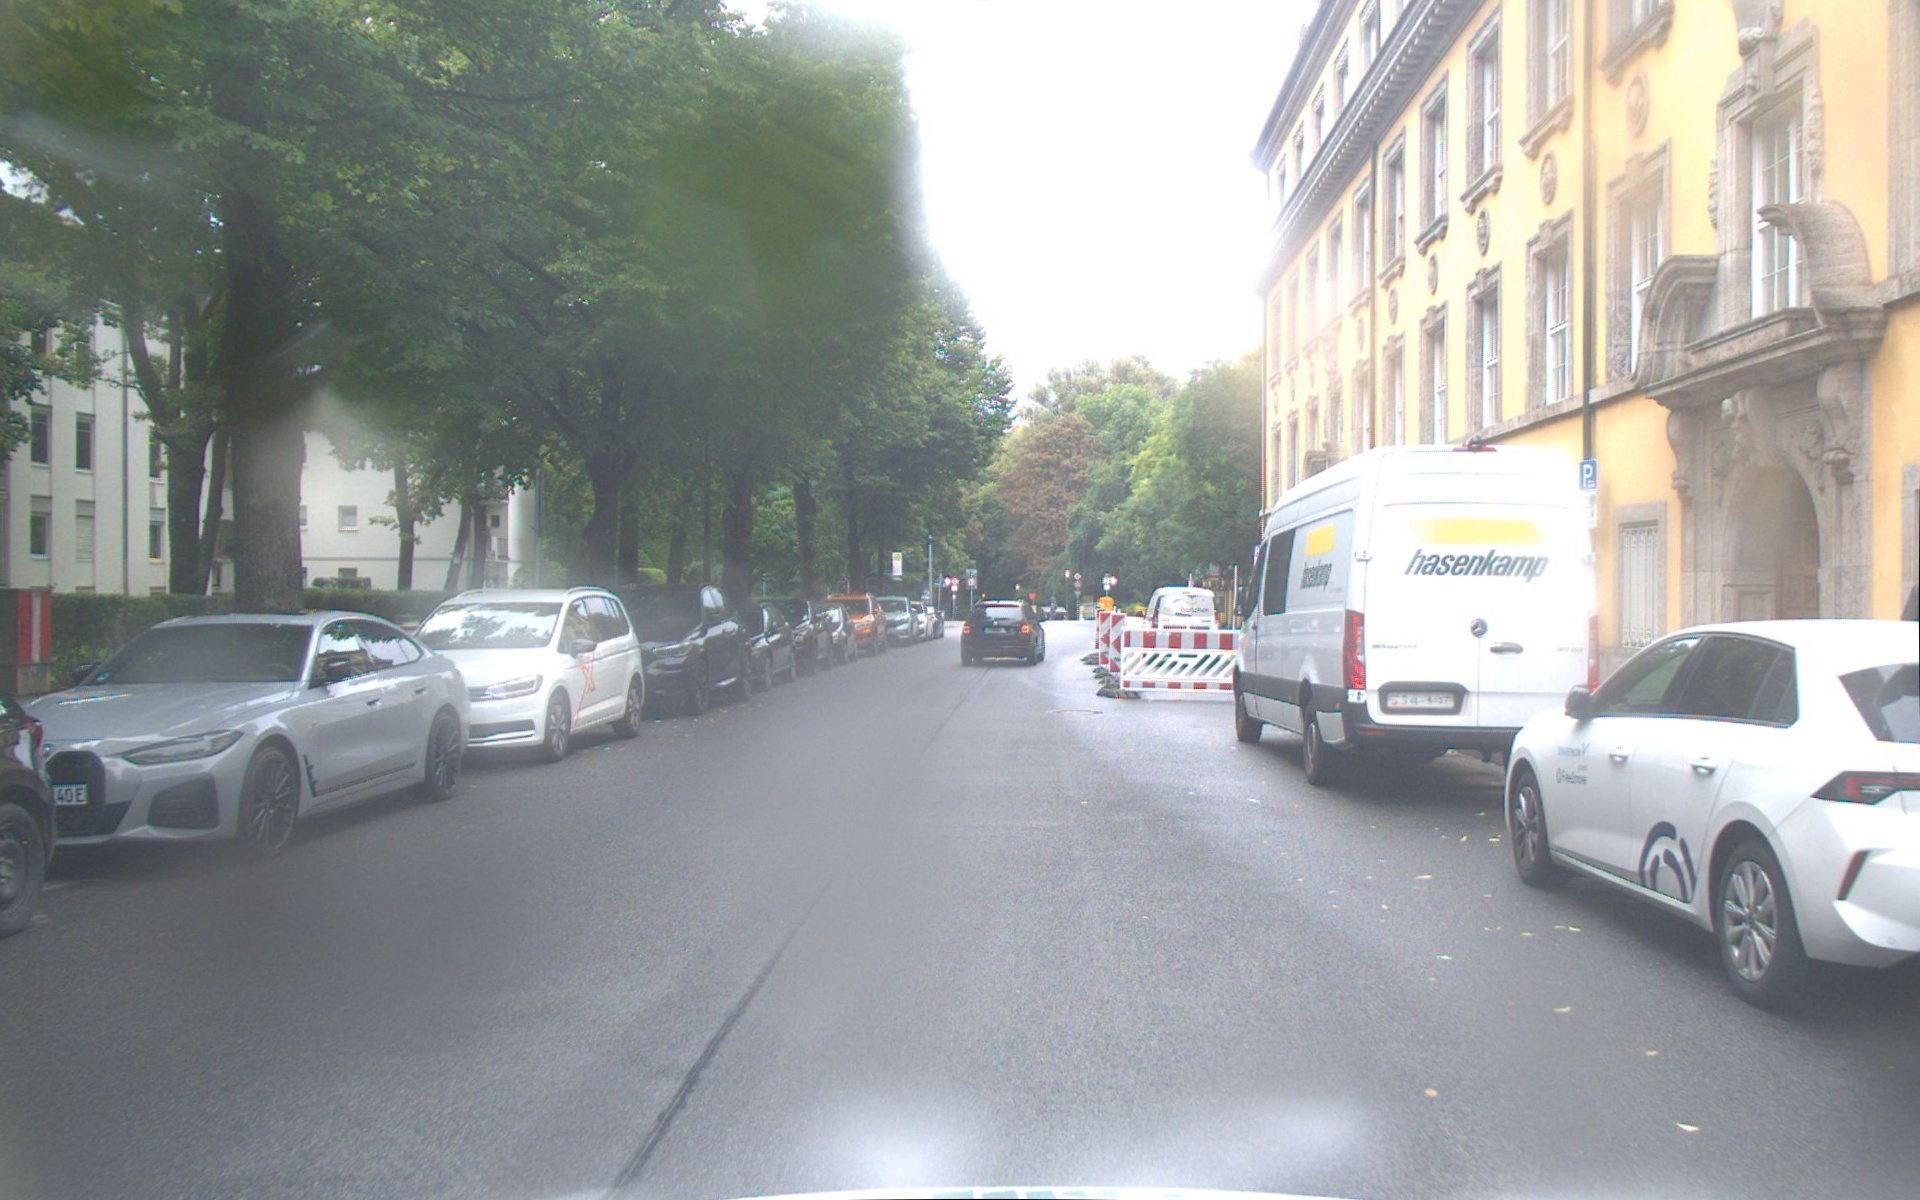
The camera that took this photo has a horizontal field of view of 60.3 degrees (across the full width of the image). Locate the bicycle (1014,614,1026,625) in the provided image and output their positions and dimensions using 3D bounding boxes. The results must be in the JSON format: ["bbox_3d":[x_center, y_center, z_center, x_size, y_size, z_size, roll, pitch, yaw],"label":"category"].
[{"bbox_3d":[4.539,1.459,125.358,0.666,0.844,2.107,0,-1,-6],"label":"bicycle"}]

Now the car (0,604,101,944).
[{"bbox_3d":[-5.063,0.763,6.055,1.637,1.495,4.104,0,0,1],"label":"car"}]

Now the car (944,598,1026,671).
[{"bbox_3d":[0.628,0.776,38.685,1.544,1.611,4.047,0,0,6],"label":"car"}]

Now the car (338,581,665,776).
[{"bbox_3d":[-4.468,0.707,16.908,1.728,1.650,4.525,-3,0,4],"label":"car"}]

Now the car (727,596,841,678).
[{"bbox_3d":[-3.631,0.722,34.837,1.749,1.602,4.487,0,0,2],"label":"car"}]

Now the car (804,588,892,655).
[{"bbox_3d":[-3.066,0.569,46.125,1.833,1.758,4.643,0,0,4],"label":"car"}]

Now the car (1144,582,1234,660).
[{"bbox_3d":[5.470,0.513,39.985,1.703,1.780,4.357,0,-1,2],"label":"car"}]

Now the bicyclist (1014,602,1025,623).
[{"bbox_3d":[4.515,0.935,125.369,0.667,1.530,0.900,0,0,-6],"label":"bicyclist"}]

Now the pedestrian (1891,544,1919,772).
[{"bbox_3d":[8.048,0.459,13.343,0.686,1.836,0.583,-2,-1,2],"label":"pedestrian"}]

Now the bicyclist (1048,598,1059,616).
[{"bbox_3d":[6.304,0.487,111.983,0.668,1.208,0.480,0,0,-7],"label":"bicyclist"}]

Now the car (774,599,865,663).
[{"bbox_3d":[-3.353,0.713,40.178,1.691,1.447,4.252,0,0,2],"label":"car"}]

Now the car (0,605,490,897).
[{"bbox_3d":[-4.826,0.790,10.996,1.771,1.495,4.999,0,0,3],"label":"car"}]

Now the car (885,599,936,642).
[{"bbox_3d":[-1.797,0.742,60.997,1.544,1.523,4.201,0,0,3],"label":"car"}]

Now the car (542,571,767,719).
[{"bbox_3d":[-4.181,0.584,23.511,1.952,1.828,4.923,-2,0,4],"label":"car"}]

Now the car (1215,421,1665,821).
[{"bbox_3d":[3.860,0.161,15.093,2.012,2.720,7.615,0,0,1],"label":"car"}]

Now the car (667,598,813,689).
[{"bbox_3d":[-3.817,0.722,29.444,1.682,1.476,4.697,0,0,4],"label":"car"}]

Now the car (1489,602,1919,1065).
[{"bbox_3d":[3.939,0.756,7.429,1.832,1.483,4.255,0,0,1],"label":"car"}]

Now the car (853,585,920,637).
[{"bbox_3d":[-2.403,0.359,55.004,1.777,1.629,4.515,0,0,3],"label":"car"}]

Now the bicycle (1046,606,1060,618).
[{"bbox_3d":[6.286,0.822,111.950,0.666,0.844,2.107,0,-1,-6],"label":"bicycle"}]
